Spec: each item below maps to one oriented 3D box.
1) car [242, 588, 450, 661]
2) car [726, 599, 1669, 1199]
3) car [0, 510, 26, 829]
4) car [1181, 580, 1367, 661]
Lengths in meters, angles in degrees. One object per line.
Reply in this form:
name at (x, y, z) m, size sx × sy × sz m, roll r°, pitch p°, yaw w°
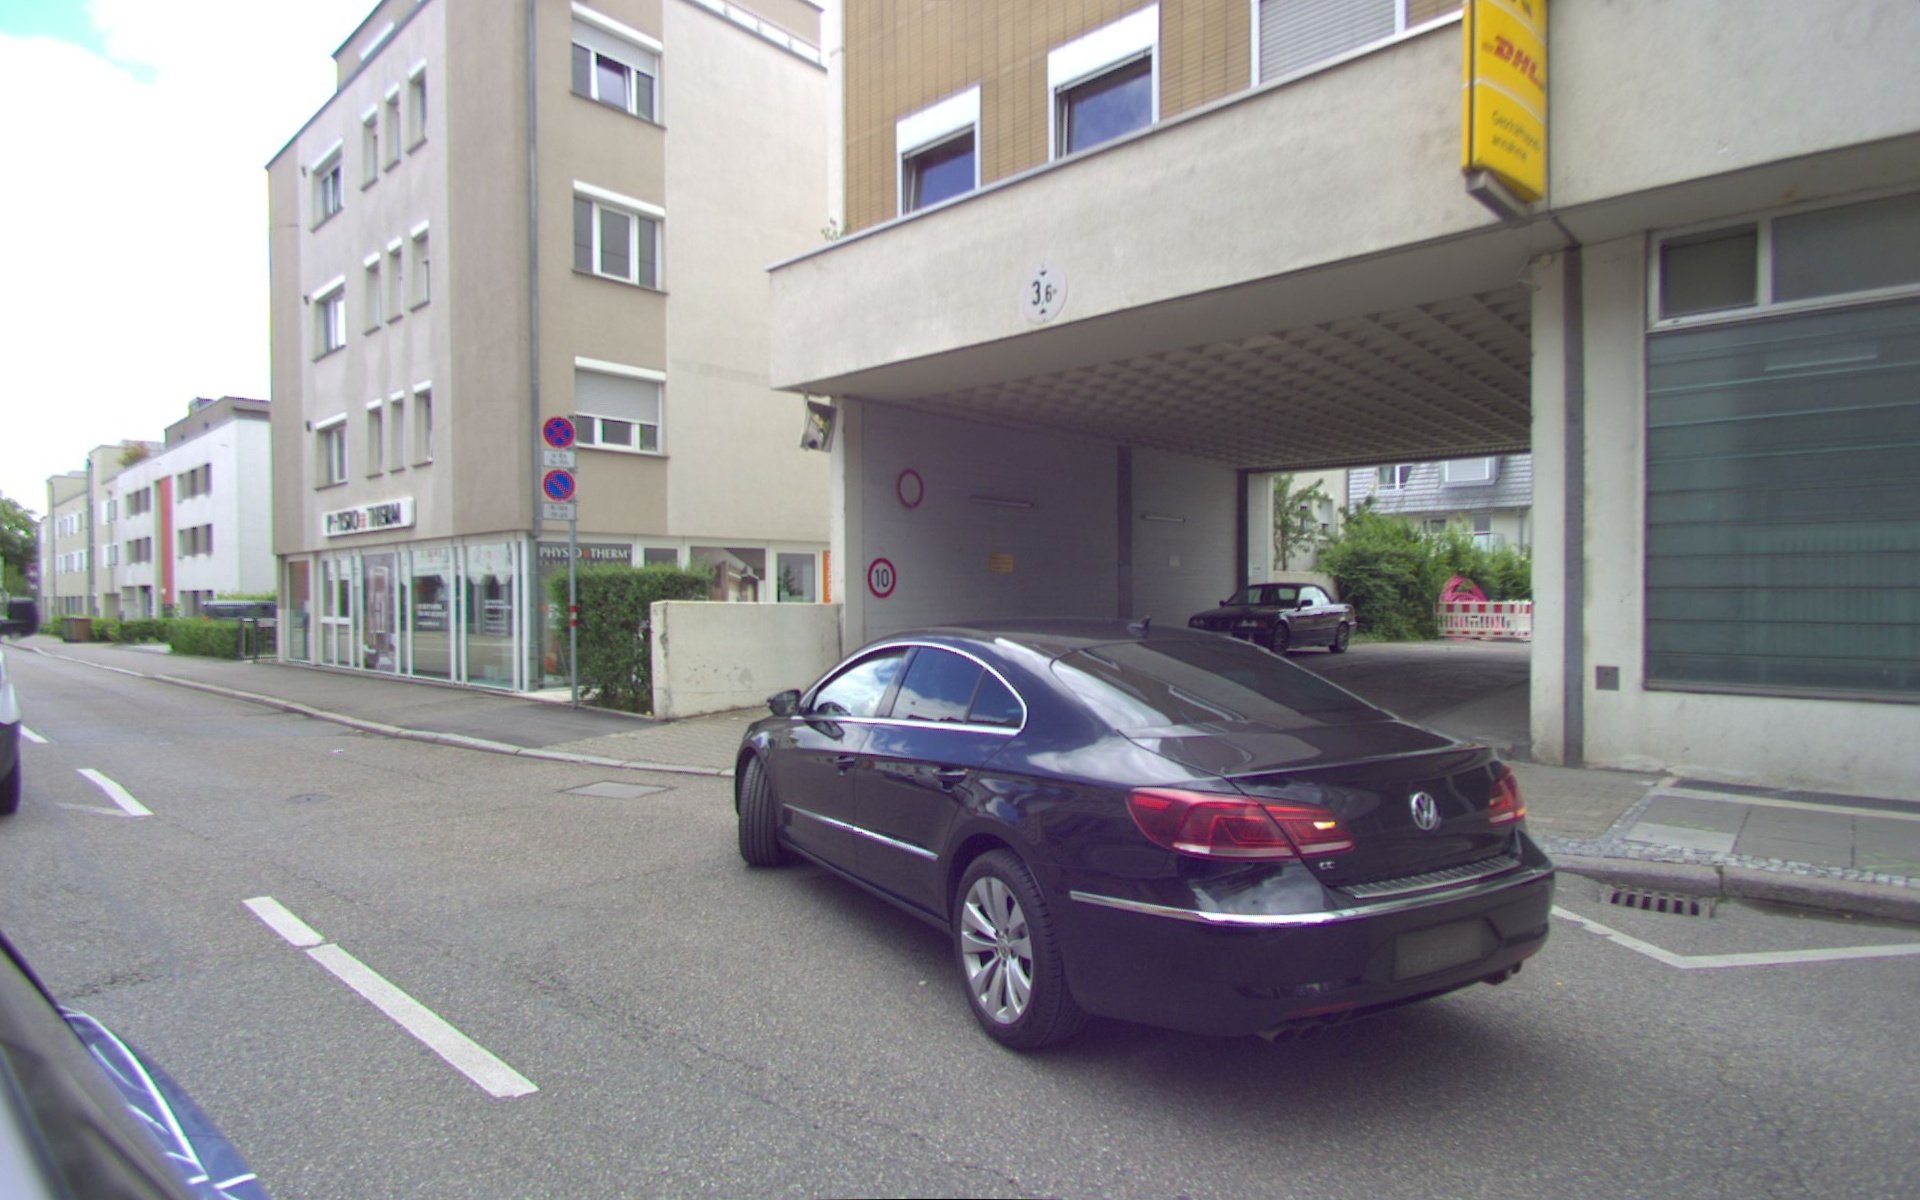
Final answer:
car at (-18.270, 0.670, 30.310) m, size 1.967 × 2.013 × 5.014 m, roll -1°, pitch 0°, yaw 44°
car at (0.347, 0.714, 4.611) m, size 1.629 × 1.409 × 4.468 m, roll -1°, pitch 1°, yaw -28°
car at (-8.541, 0.463, 7.415) m, size 5.084 × 2.013 × 1.940 m, roll -1°, pitch 0°, yaw 41°
car at (5.944, 0.302, 18.827) m, size 1.624 × 1.333 × 4.391 m, roll 0°, pitch 1°, yaw 42°
